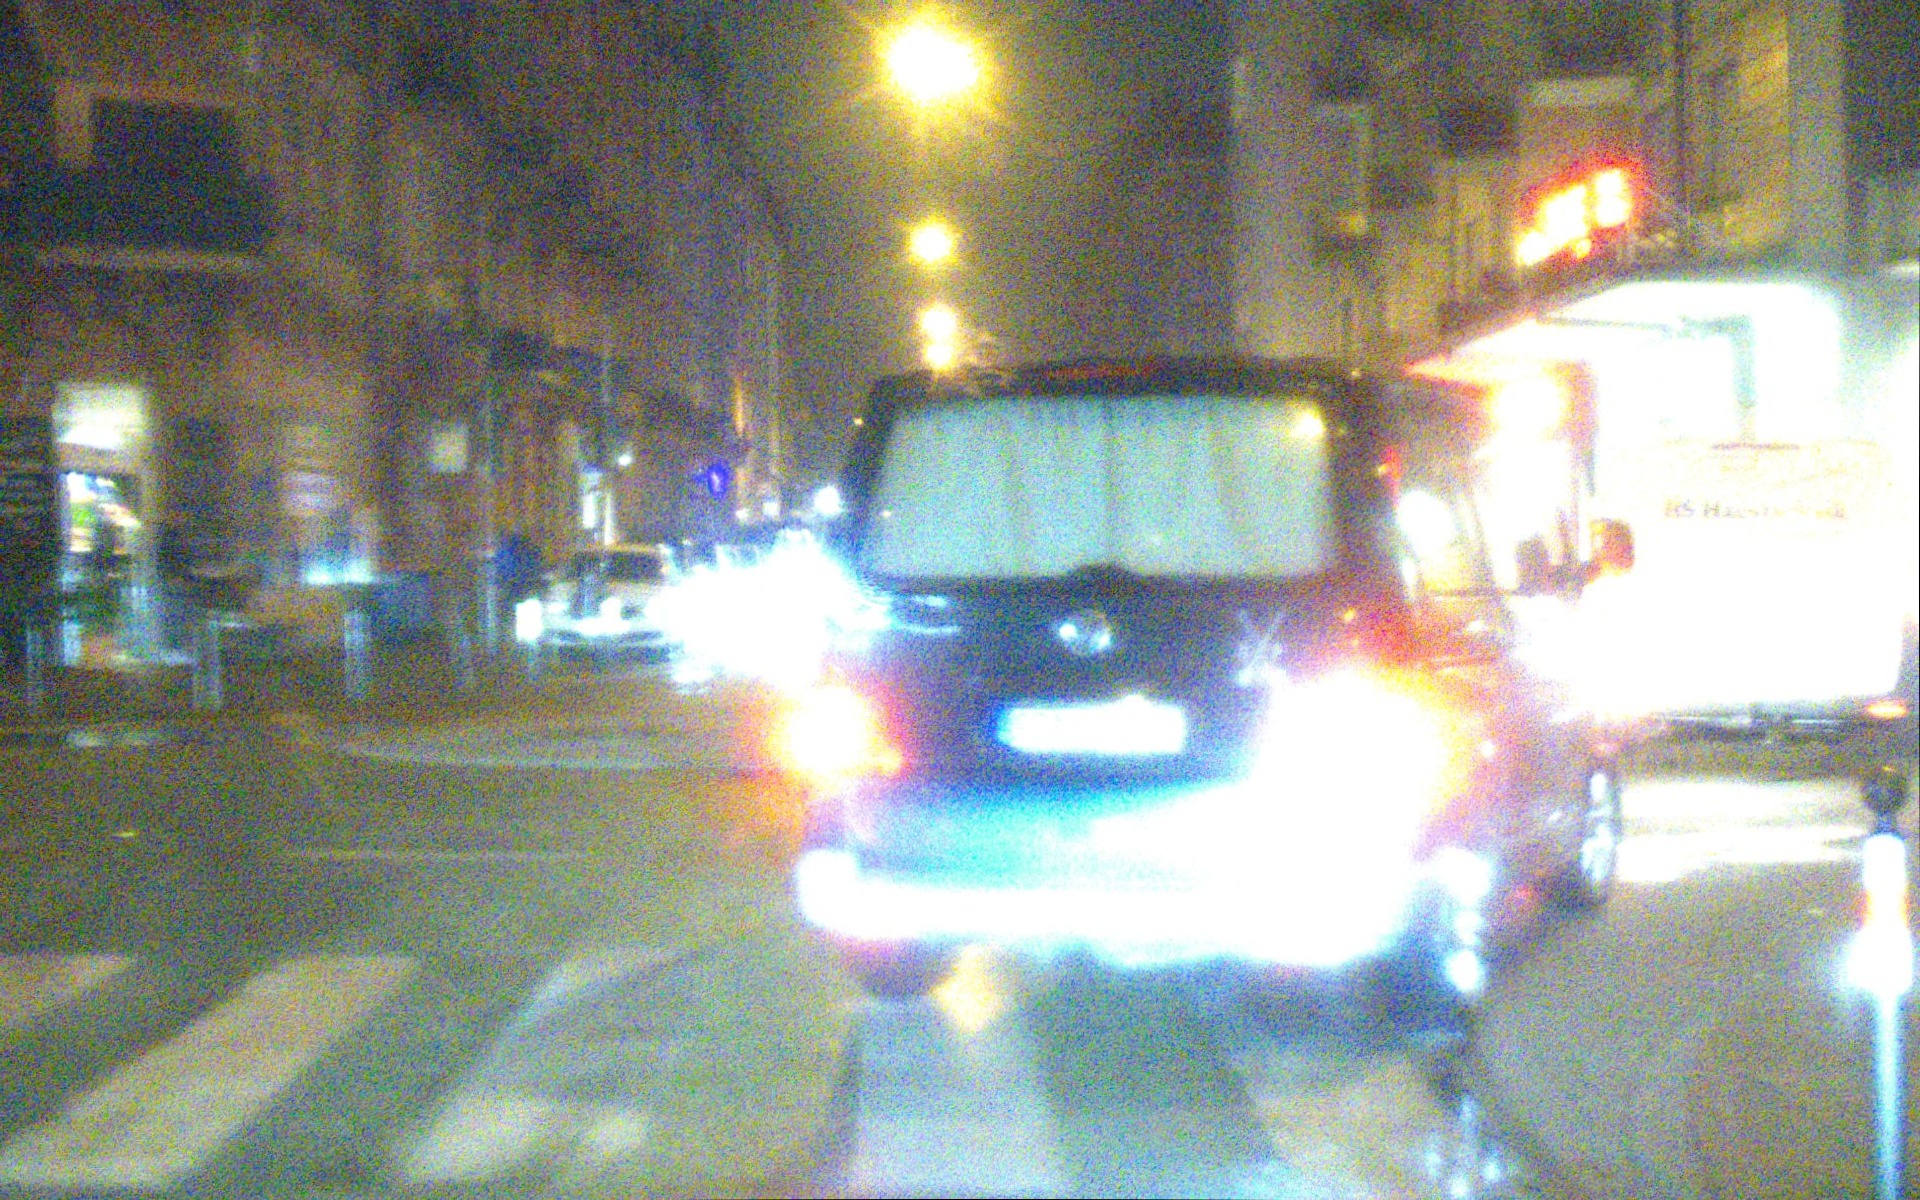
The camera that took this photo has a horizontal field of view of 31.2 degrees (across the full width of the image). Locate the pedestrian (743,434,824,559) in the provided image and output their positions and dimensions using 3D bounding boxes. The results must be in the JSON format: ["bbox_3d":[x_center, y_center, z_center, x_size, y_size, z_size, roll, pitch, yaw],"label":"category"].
[{"bbox_3d":[-2.594,-1.524,50.605,1.122,1.805,0.715,-1,1,1],"label":"pedestrian"}]

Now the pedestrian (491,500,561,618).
[{"bbox_3d":[-6.548,-0.618,51.936,0.804,1.760,1.015,1,0,6],"label":"pedestrian"}]

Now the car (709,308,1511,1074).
[{"bbox_3d":[0.737,0.192,11.339,2.123,1.984,4.599,0,1,9],"label":"car"}]

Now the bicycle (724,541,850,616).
[{"bbox_3d":[-2.545,-0.319,50.643,1.796,1.055,0.715,-1,1,2],"label":"bicycle"}]

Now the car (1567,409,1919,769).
[{"bbox_3d":[4.843,-0.117,20.799,2.124,1.915,4.823,1,1,12],"label":"car"}]

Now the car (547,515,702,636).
[{"bbox_3d":[-4.389,-0.358,45.435,1.586,1.458,4.024,2,1,0],"label":"car"}]

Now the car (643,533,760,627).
[{"bbox_3d":[-4.076,-0.344,54.606,1.586,1.444,3.503,0,1,0],"label":"car"}]

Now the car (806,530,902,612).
[{"bbox_3d":[-1.963,-0.567,64.489,1.563,1.422,4.069,-2,1,1],"label":"car"}]
